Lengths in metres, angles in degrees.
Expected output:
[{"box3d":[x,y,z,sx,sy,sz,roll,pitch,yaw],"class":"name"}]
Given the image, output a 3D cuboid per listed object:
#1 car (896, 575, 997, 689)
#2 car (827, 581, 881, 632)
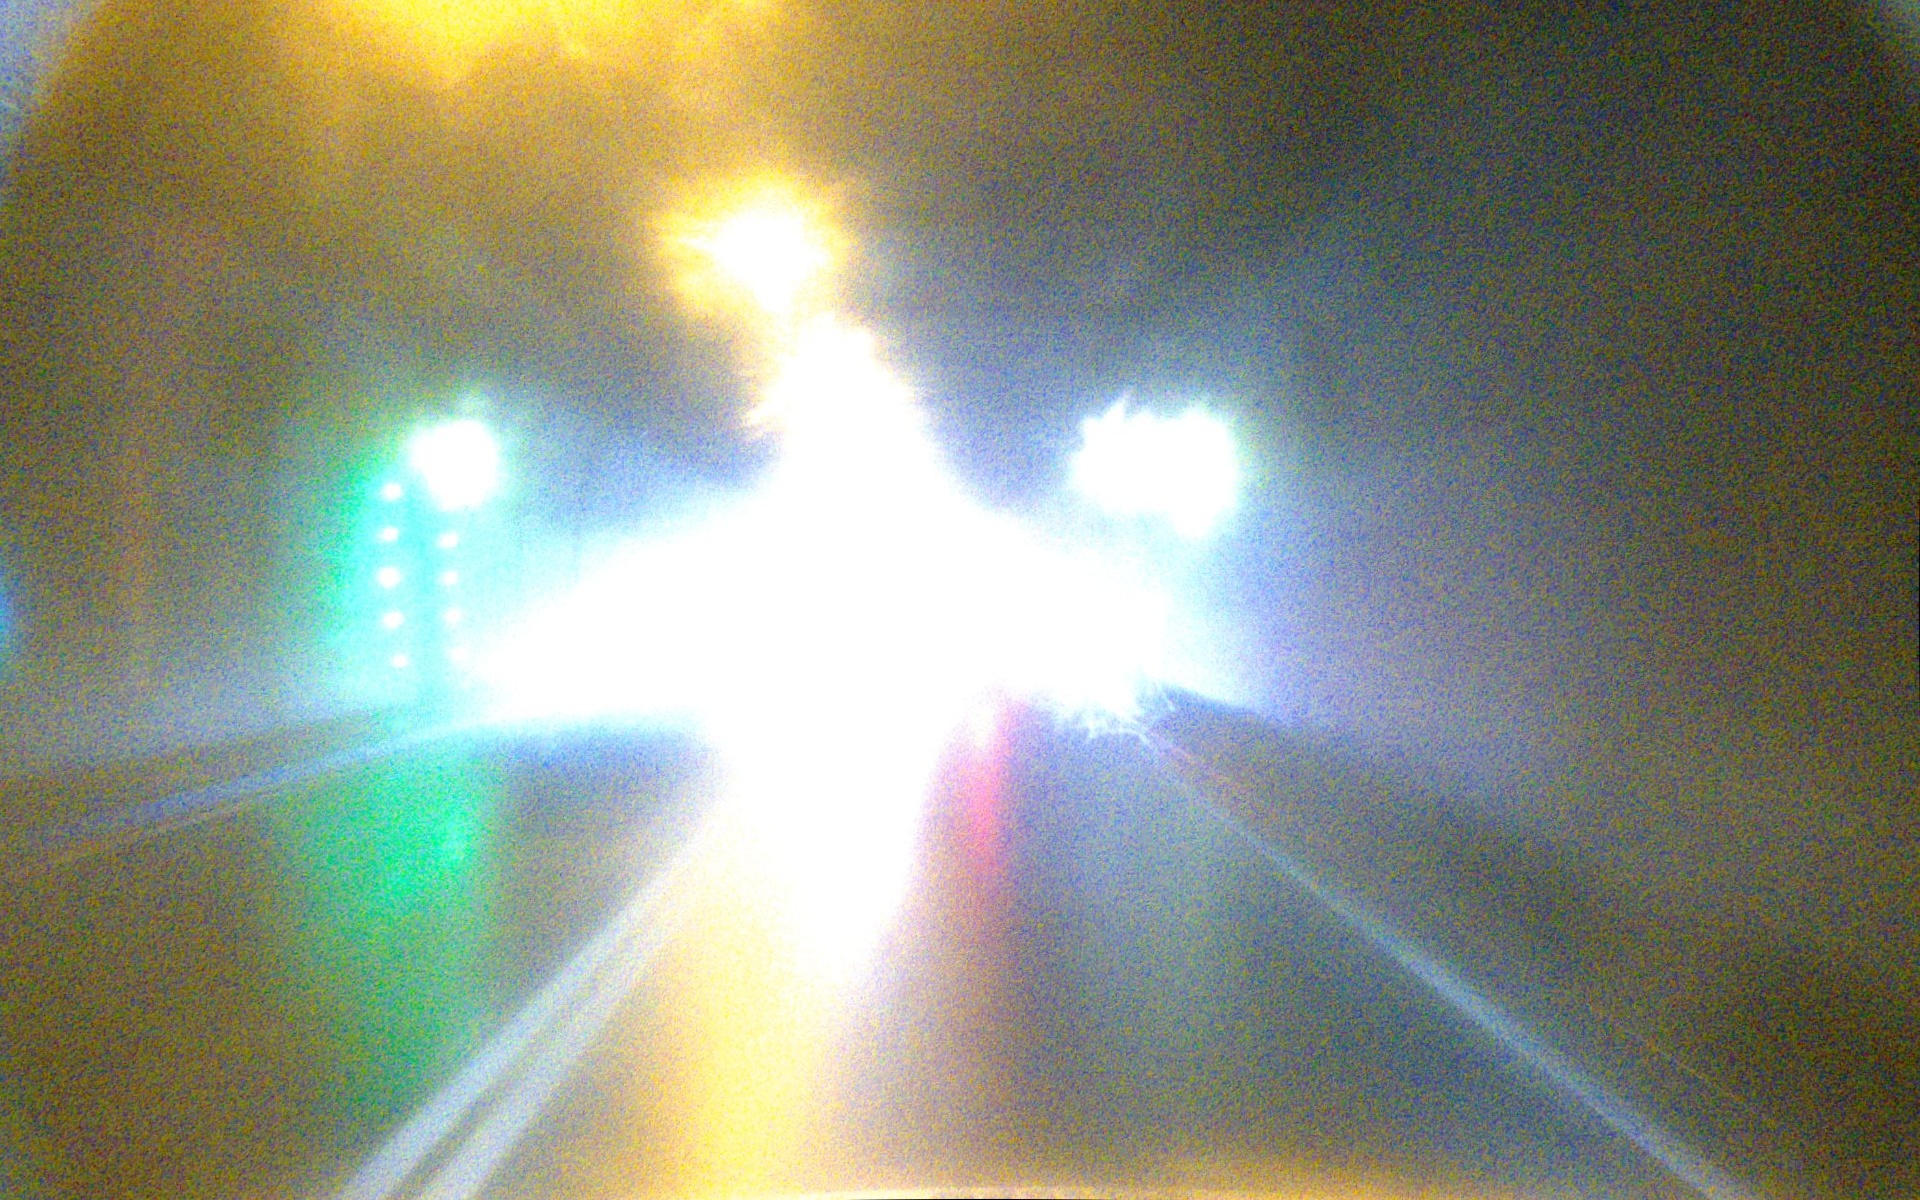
[{"box3d":[-0.205,0.488,28.896,1.601,1.788,4.146,-1,1,0],"class":"car"},{"box3d":[-4.505,0.233,70.985,2.167,2.048,3.999,-1,1,-2],"class":"car"}]
